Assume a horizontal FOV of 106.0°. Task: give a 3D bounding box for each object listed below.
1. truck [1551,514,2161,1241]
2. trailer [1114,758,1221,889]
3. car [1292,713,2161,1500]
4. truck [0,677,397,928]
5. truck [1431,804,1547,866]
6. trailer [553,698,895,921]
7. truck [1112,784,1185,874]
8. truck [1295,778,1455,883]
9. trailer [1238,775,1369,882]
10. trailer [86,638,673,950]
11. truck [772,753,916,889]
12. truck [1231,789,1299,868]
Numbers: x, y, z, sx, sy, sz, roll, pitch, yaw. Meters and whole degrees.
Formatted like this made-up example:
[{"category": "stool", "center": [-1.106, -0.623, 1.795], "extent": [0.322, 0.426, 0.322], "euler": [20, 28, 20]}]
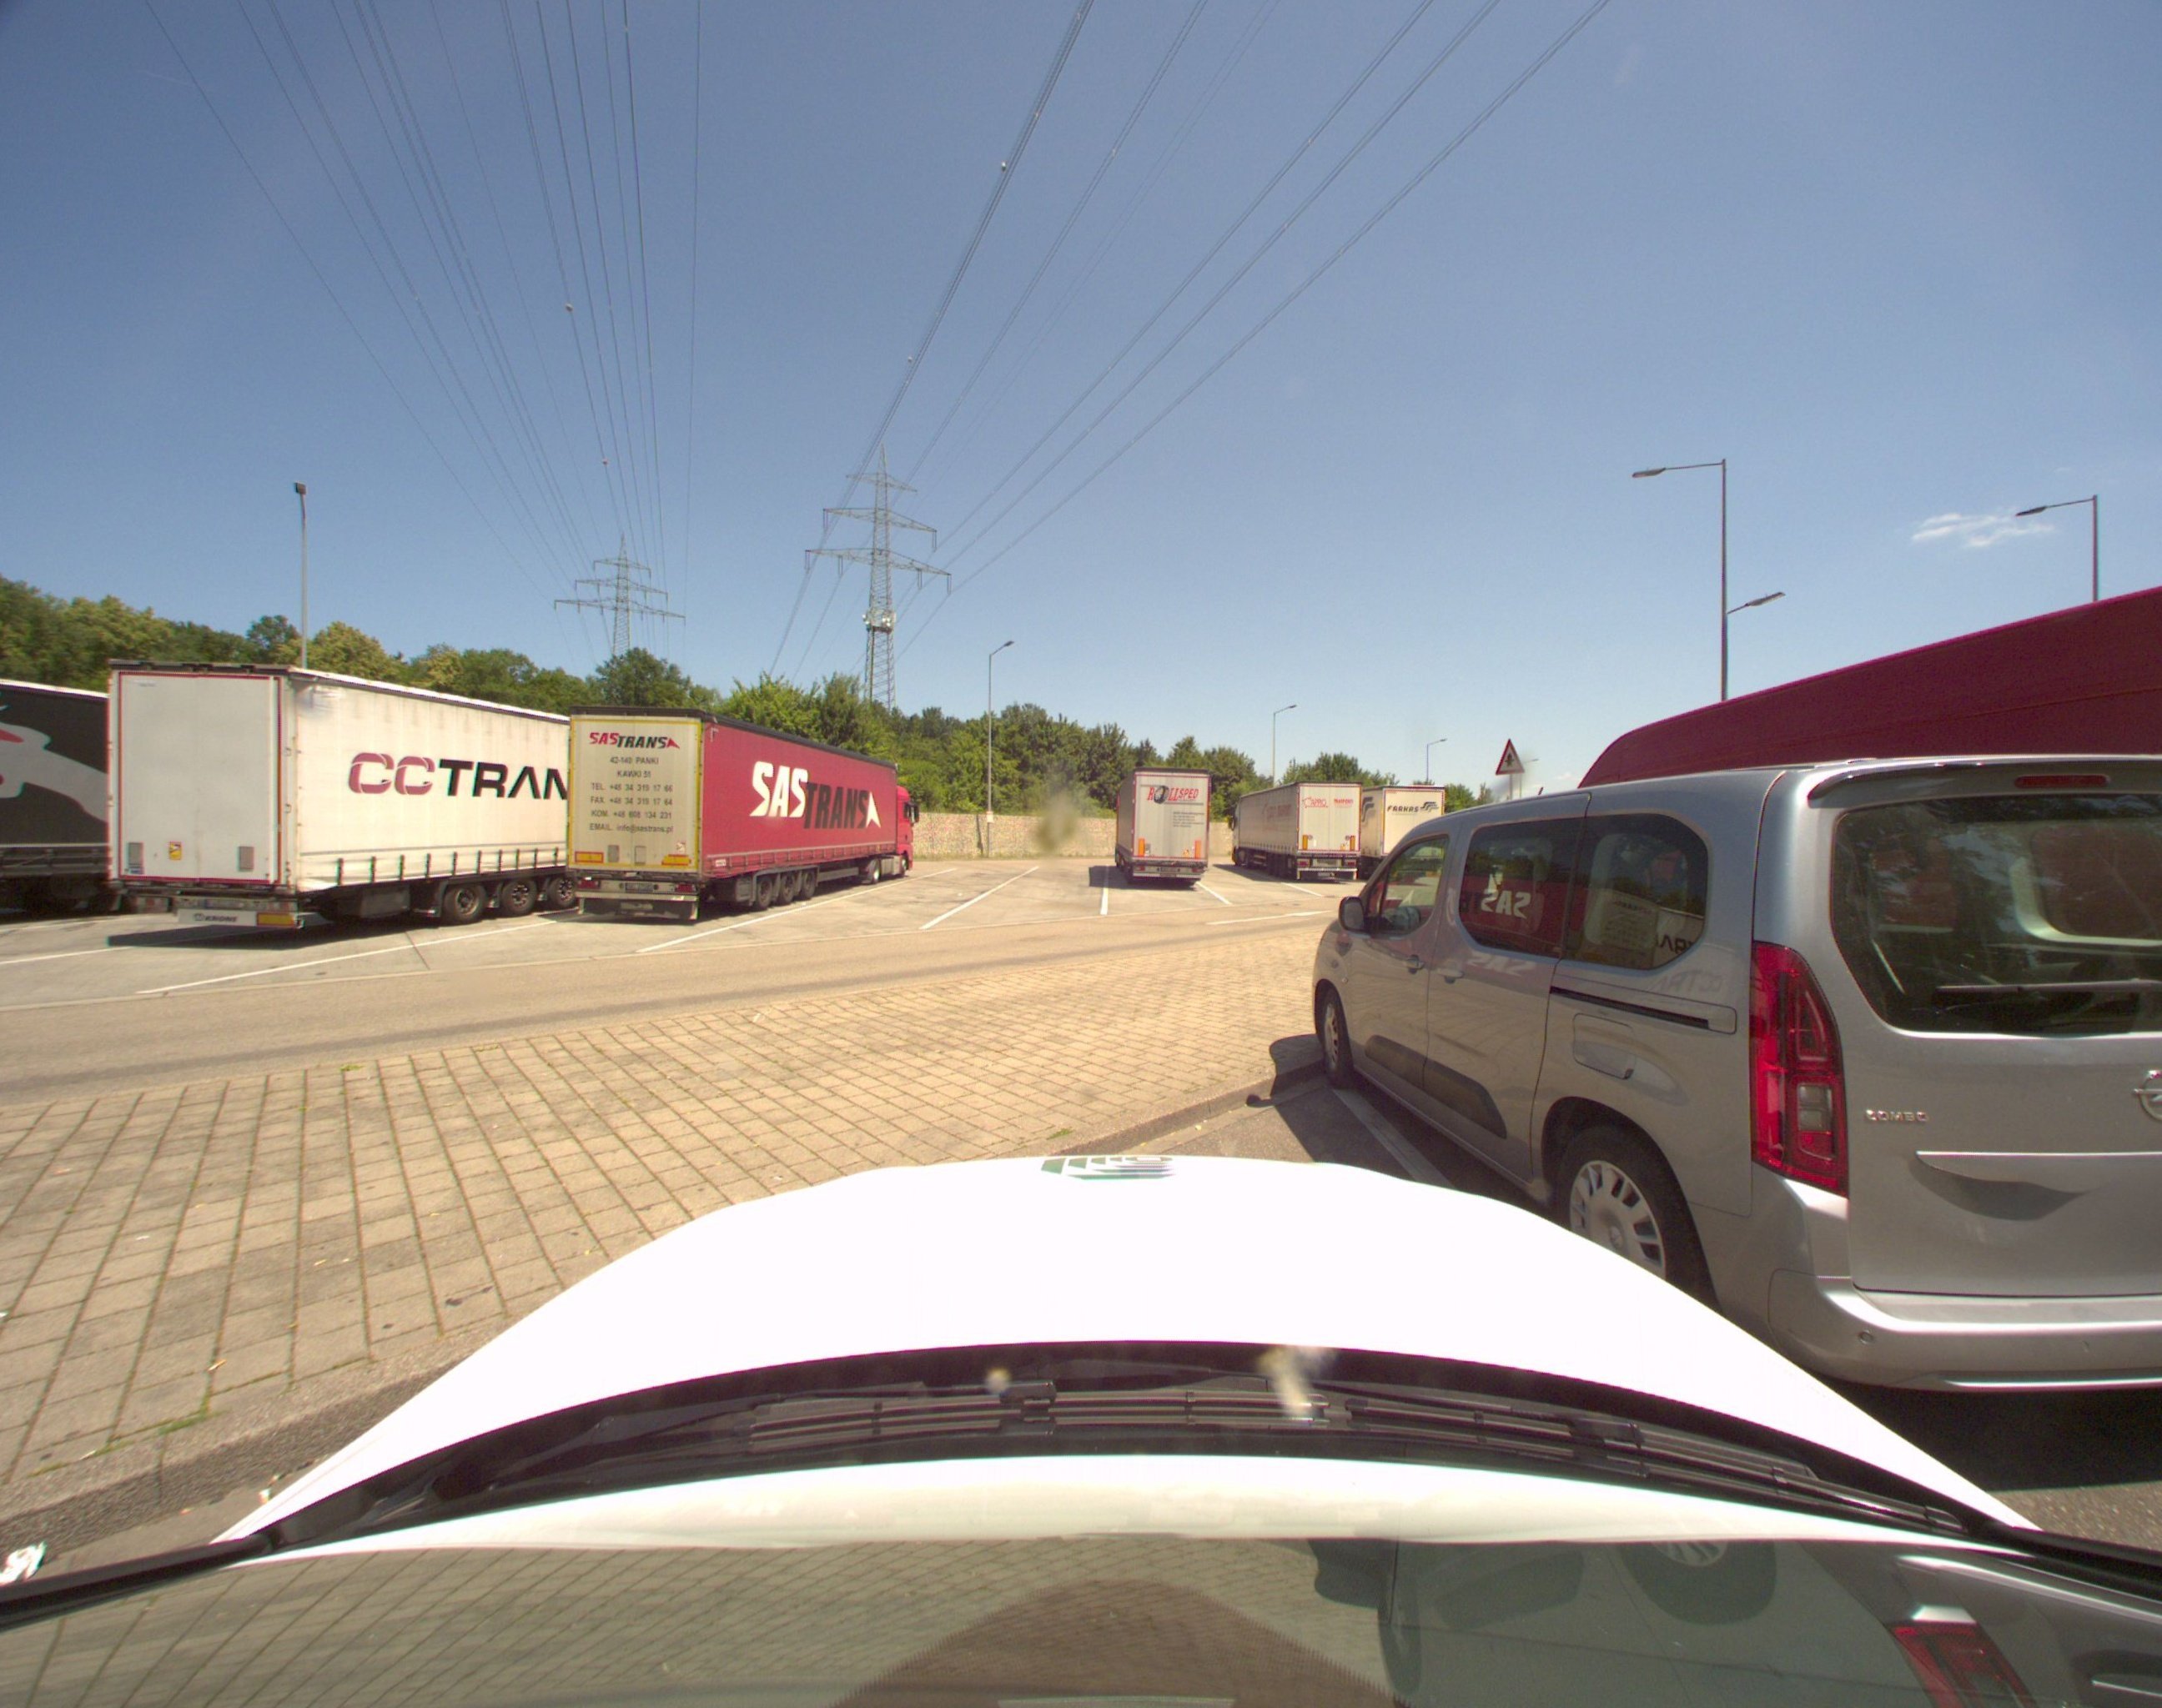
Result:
[{"category": "truck", "center": [5.101, 0.048, 4.872], "extent": [1.983, 2.623, 5.312], "euler": [-1, 1, 6]}, {"category": "trailer", "center": [3.048, -1.190, 32.738], "extent": [3.059, 4.227, 12.811], "euler": [1, 2, 1]}, {"category": "car", "center": [2.471, 0.527, 3.850], "extent": [1.821, 1.753, 3.998], "euler": [-1, 1, -2]}, {"category": "truck", "center": [-18.510, -0.857, 15.966], "extent": [2.627, 4.018, 8.640], "euler": [-1, 1, 2]}, {"category": "truck", "center": [24.466, -1.132, 49.434], "extent": [3.013, 3.437, 8.534], "euler": [-1, 1, 2]}, {"category": "trailer", "center": [-8.044, -0.920, 21.532], "extent": [2.739, 4.057, 13.292], "euler": [-1, 1, 2]}, {"category": "truck", "center": [3.131, -1.223, 39.510], "extent": [3.016, 3.928, 6.848], "euler": [1, 2, 1]}, {"category": "truck", "center": [13.578, -1.060, 39.653], "extent": [2.894, 4.124, 14.533], "euler": [2, 1, 2]}, {"category": "trailer", "center": [9.943, -1.106, 38.409], "extent": [2.865, 4.124, 13.577], "euler": [0, 1, 2]}, {"category": "trailer", "center": [-12.098, -0.897, 16.072], "extent": [2.734, 4.263, 9.740], "euler": [-1, 1, 3]}, {"category": "truck", "center": [-7.836, -1.052, 28.015], "extent": [2.733, 4.081, 6.832], "euler": [-1, 1, 1]}, {"category": "truck", "center": [10.131, -1.396, 45.411], "extent": [2.747, 4.124, 5.286], "euler": [-1, 1, 2]}]
